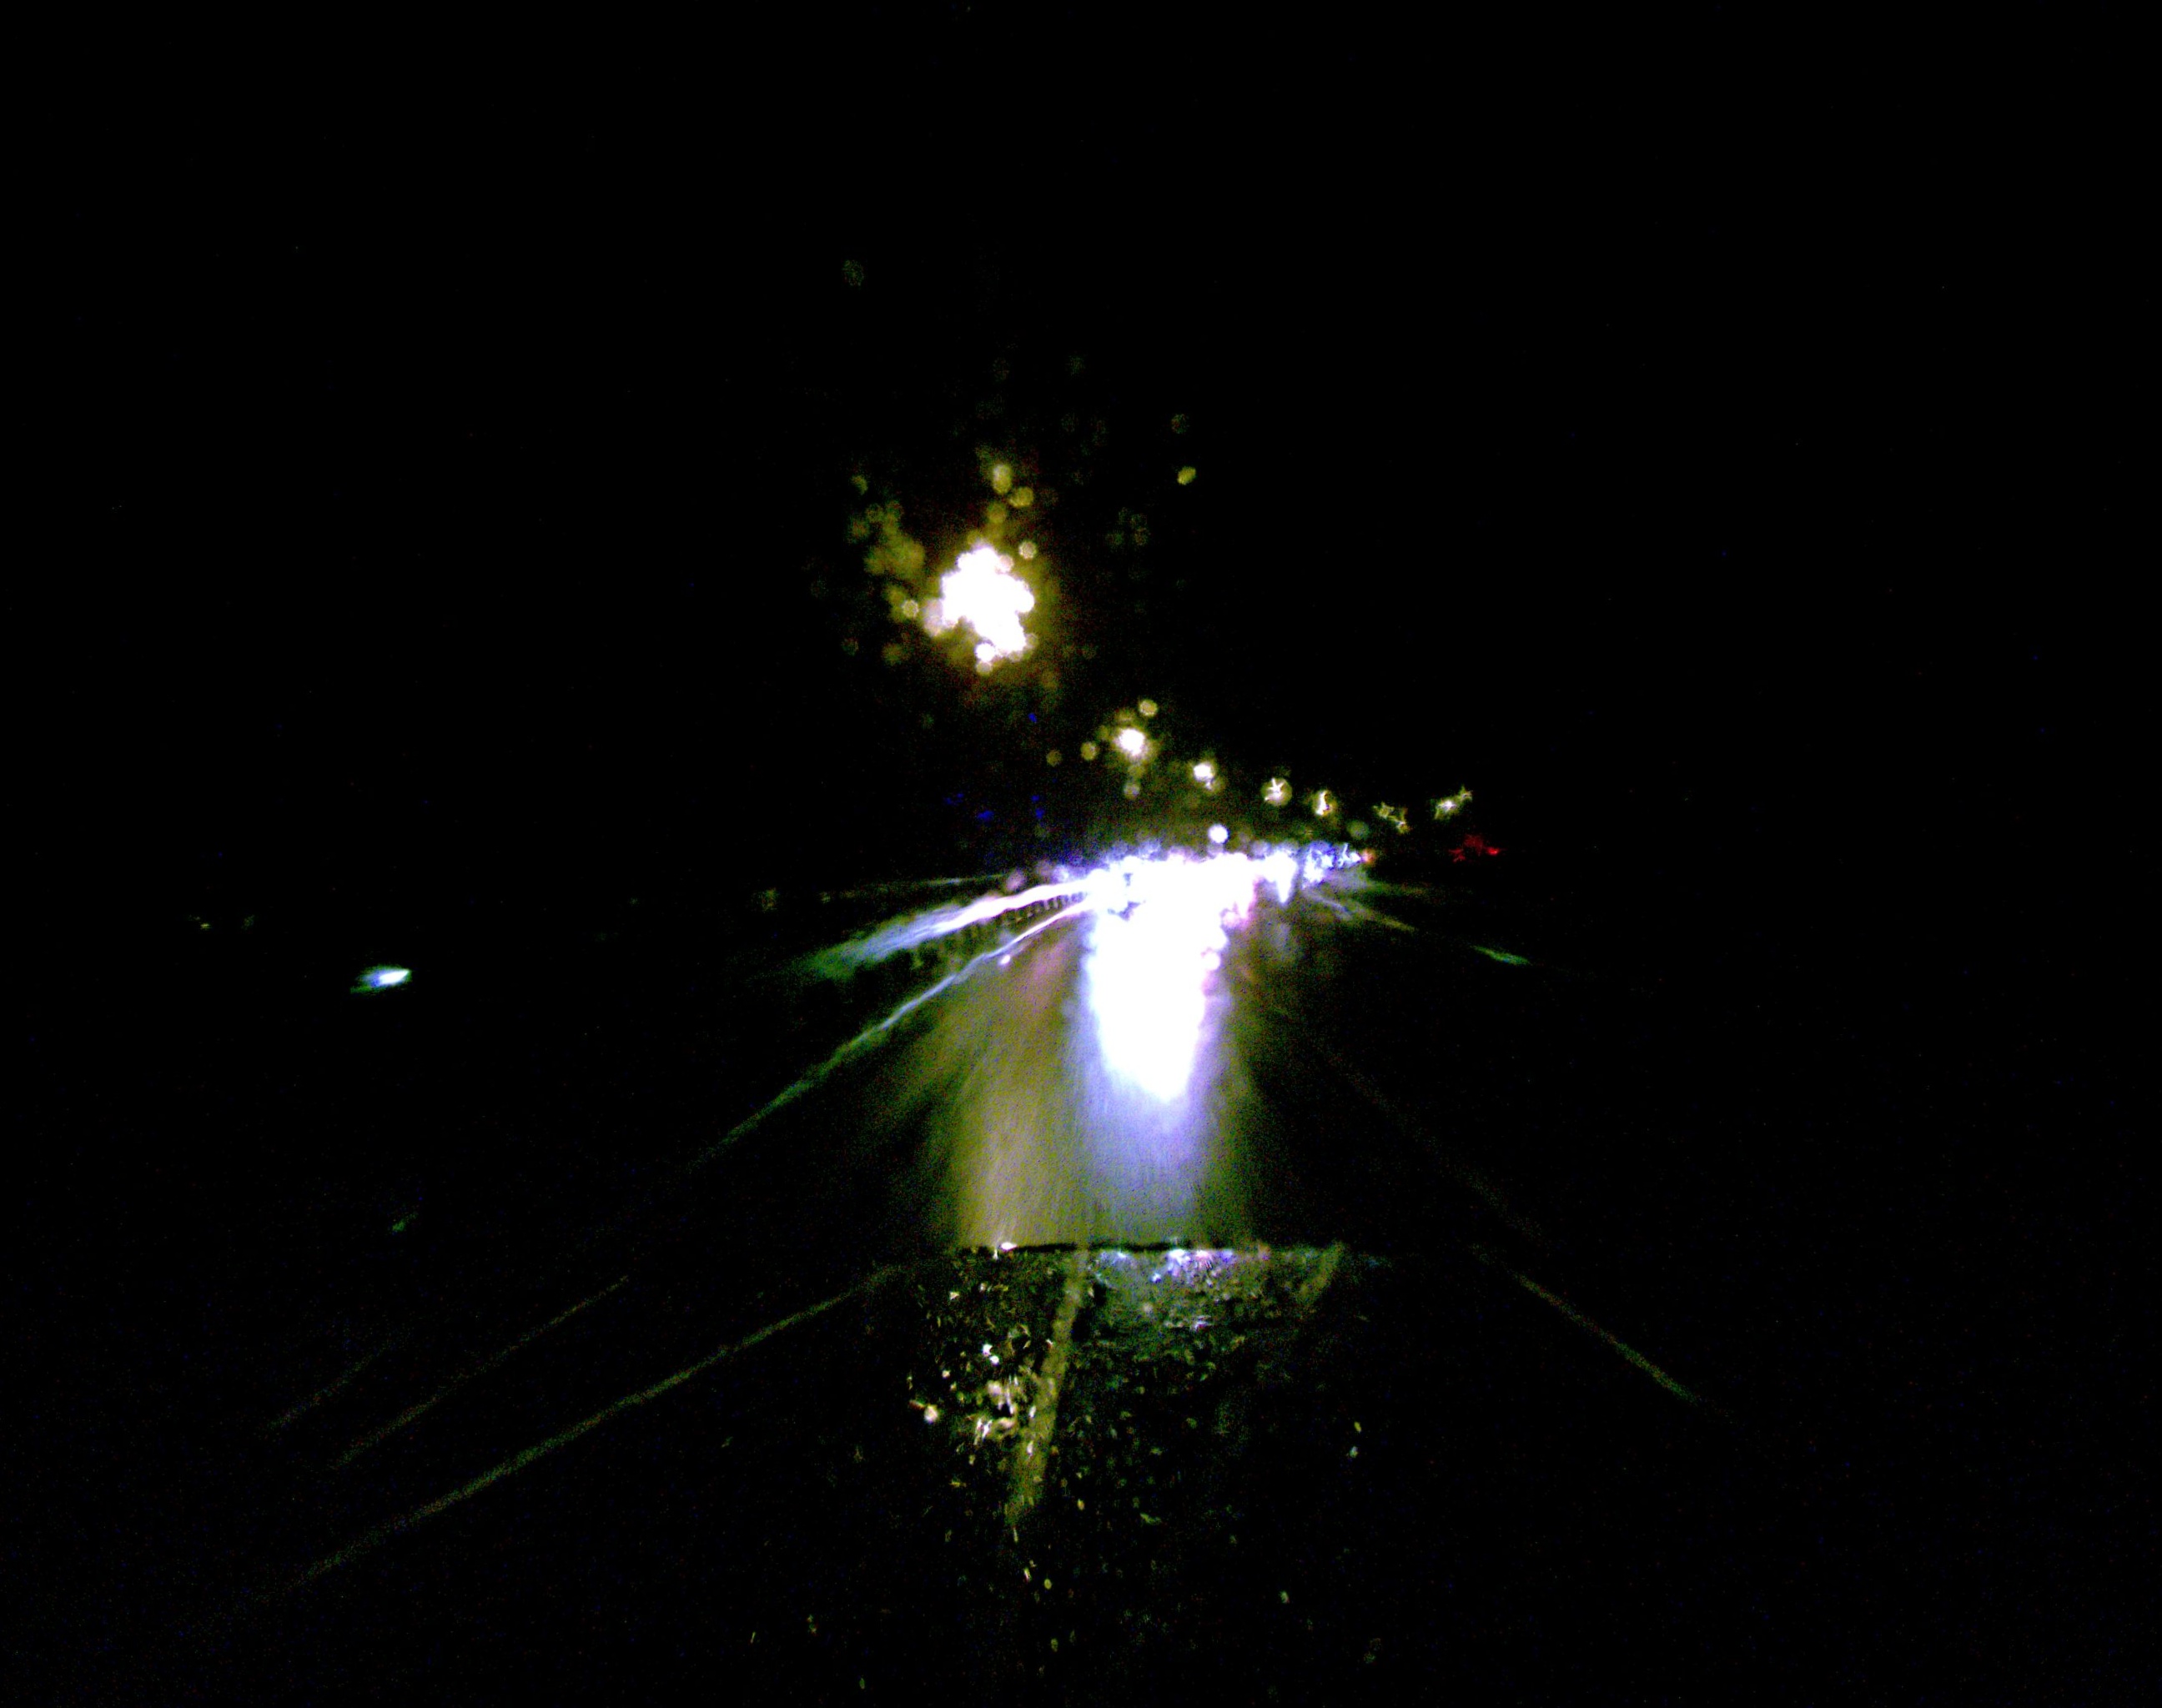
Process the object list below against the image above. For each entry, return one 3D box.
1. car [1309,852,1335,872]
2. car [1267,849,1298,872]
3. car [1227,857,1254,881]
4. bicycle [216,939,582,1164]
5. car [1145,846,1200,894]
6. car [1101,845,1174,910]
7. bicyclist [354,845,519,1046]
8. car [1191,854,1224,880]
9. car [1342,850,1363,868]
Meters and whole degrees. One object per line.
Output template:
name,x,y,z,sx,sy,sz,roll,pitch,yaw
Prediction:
car,27.510,0.910,86.515,1.653,2.000,4.009,-10,-6,31
car,19.558,0.677,73.550,1.653,2.000,4.009,-10,-6,29
car,12.400,1.156,59.034,1.303,1.520,3.050,-9,-1,24
bicycle,-4.628,1.262,5.444,0.485,1.028,2.172,-2,0,5
car,4.169,0.657,34.121,1.996,2.002,4.004,0,0,13
car,1.752,0.671,22.446,1.926,1.704,4.242,1,-1,7
bicyclist,-4.640,0.622,5.516,0.453,1.341,0.765,-2,0,5
car,7.994,0.800,47.794,1.520,1.516,3.112,-1,-1,20
car,35.256,0.656,98.528,1.653,2.000,4.009,-10,-6,29
